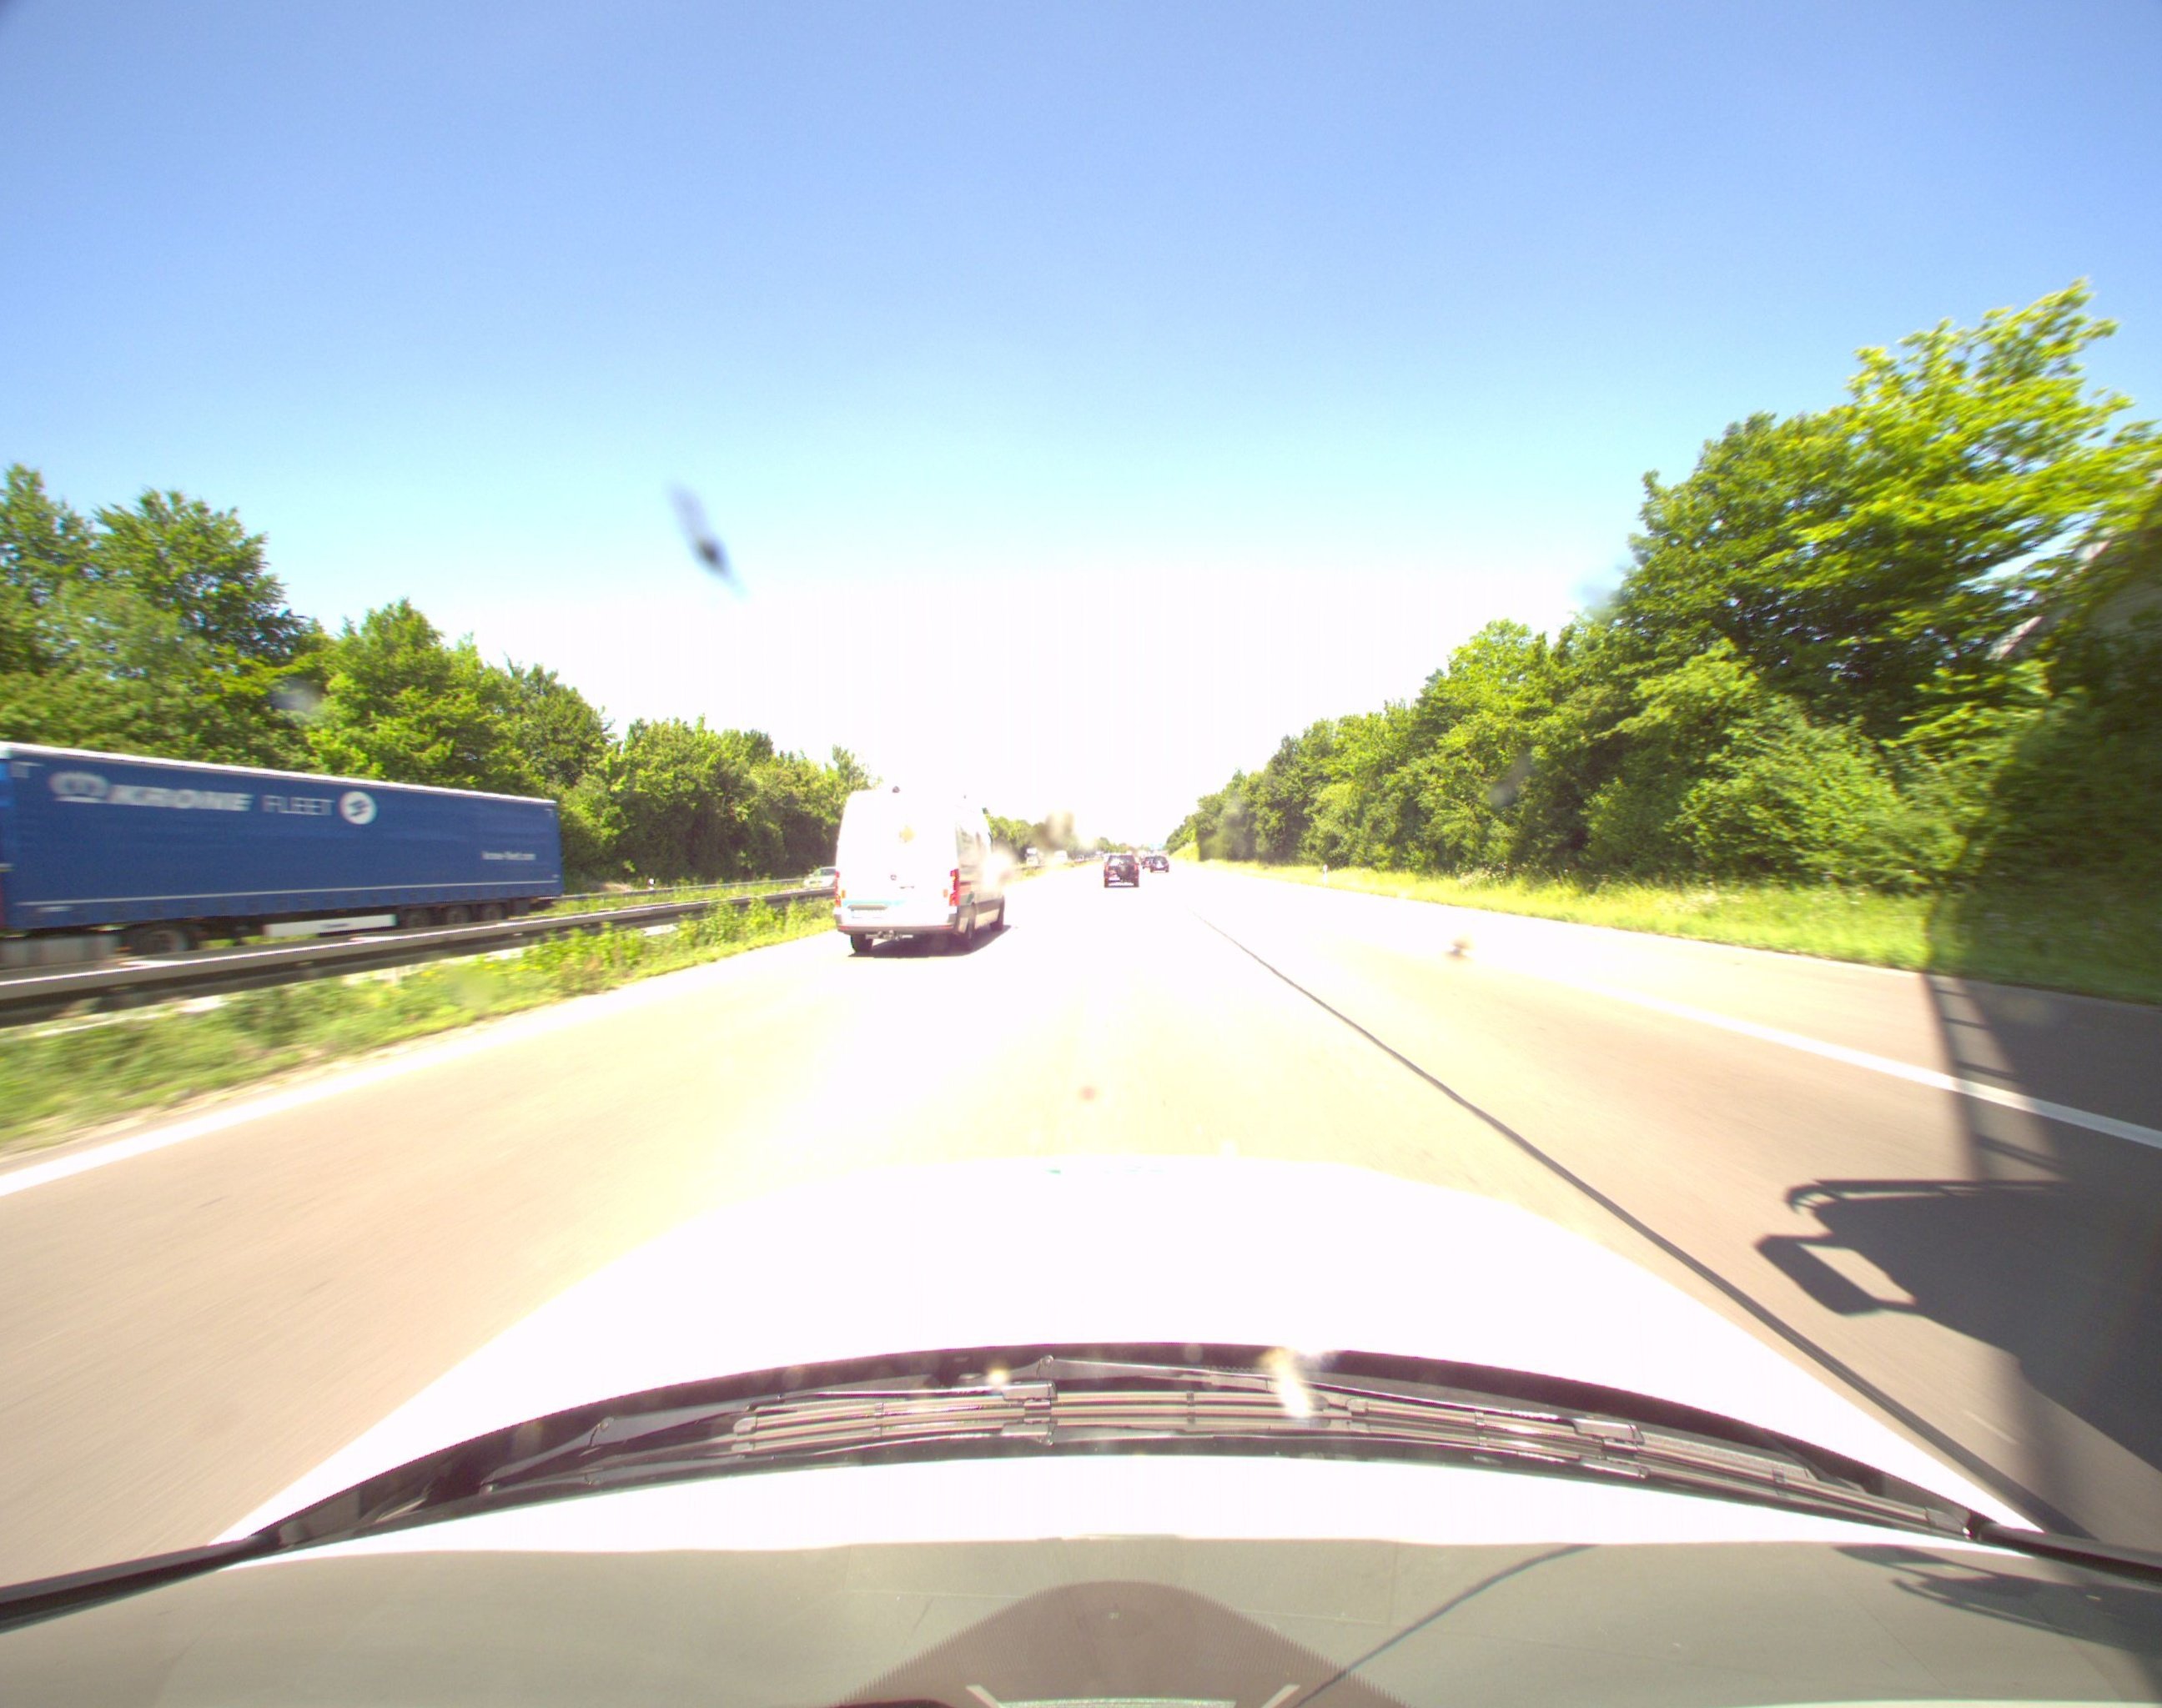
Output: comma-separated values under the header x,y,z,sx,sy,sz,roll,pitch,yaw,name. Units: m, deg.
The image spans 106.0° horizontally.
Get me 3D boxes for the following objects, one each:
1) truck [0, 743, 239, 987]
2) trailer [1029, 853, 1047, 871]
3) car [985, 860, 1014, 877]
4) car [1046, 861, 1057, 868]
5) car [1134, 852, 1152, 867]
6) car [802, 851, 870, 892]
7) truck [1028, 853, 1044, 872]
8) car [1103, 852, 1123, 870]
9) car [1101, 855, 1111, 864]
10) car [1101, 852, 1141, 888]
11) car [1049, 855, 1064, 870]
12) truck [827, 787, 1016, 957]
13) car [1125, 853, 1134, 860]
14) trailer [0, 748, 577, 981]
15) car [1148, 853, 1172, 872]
x,y,z,sx,sy,sz,roll,pitch,yaw,name
-19.292,0.255,14.035,2.774,4.061,6.212,-4,0,2,truck
-9.479,1.761,180.694,2.755,3.882,9.461,-4,0,2,trailer
-8.076,1.438,81.007,1.985,1.608,4.653,-2,0,4,car
-6.289,2.313,173.549,1.899,1.416,4.894,-2,0,3,car
7.277,0.689,95.822,1.836,1.611,4.001,-2,-1,1,car
-13.532,0.979,45.382,1.986,2.096,5.251,-2,-1,2,car
-9.626,1.735,175.181,2.721,3.882,6.324,-4,-1,1,truck
3.387,0.723,86.313,1.985,1.706,4.339,-2,0,3,car
5.657,1.195,183.943,1.984,2.013,4.957,-2,0,5,car
1.988,0.821,41.345,1.899,1.665,4.001,-2,-1,1,car
-4.507,1.588,151.268,2.062,2.555,6.405,-2,0,3,car
-2.664,0.273,15.572,1.985,2.542,6.696,0,0,3,truck
12.069,0.627,202.587,1.987,1.750,4.204,-2,0,0,car
-19.005,0.241,21.134,2.774,4.040,13.554,-4,0,2,trailer
7.300,0.804,75.699,1.986,1.684,4.001,-2,-1,2,car
